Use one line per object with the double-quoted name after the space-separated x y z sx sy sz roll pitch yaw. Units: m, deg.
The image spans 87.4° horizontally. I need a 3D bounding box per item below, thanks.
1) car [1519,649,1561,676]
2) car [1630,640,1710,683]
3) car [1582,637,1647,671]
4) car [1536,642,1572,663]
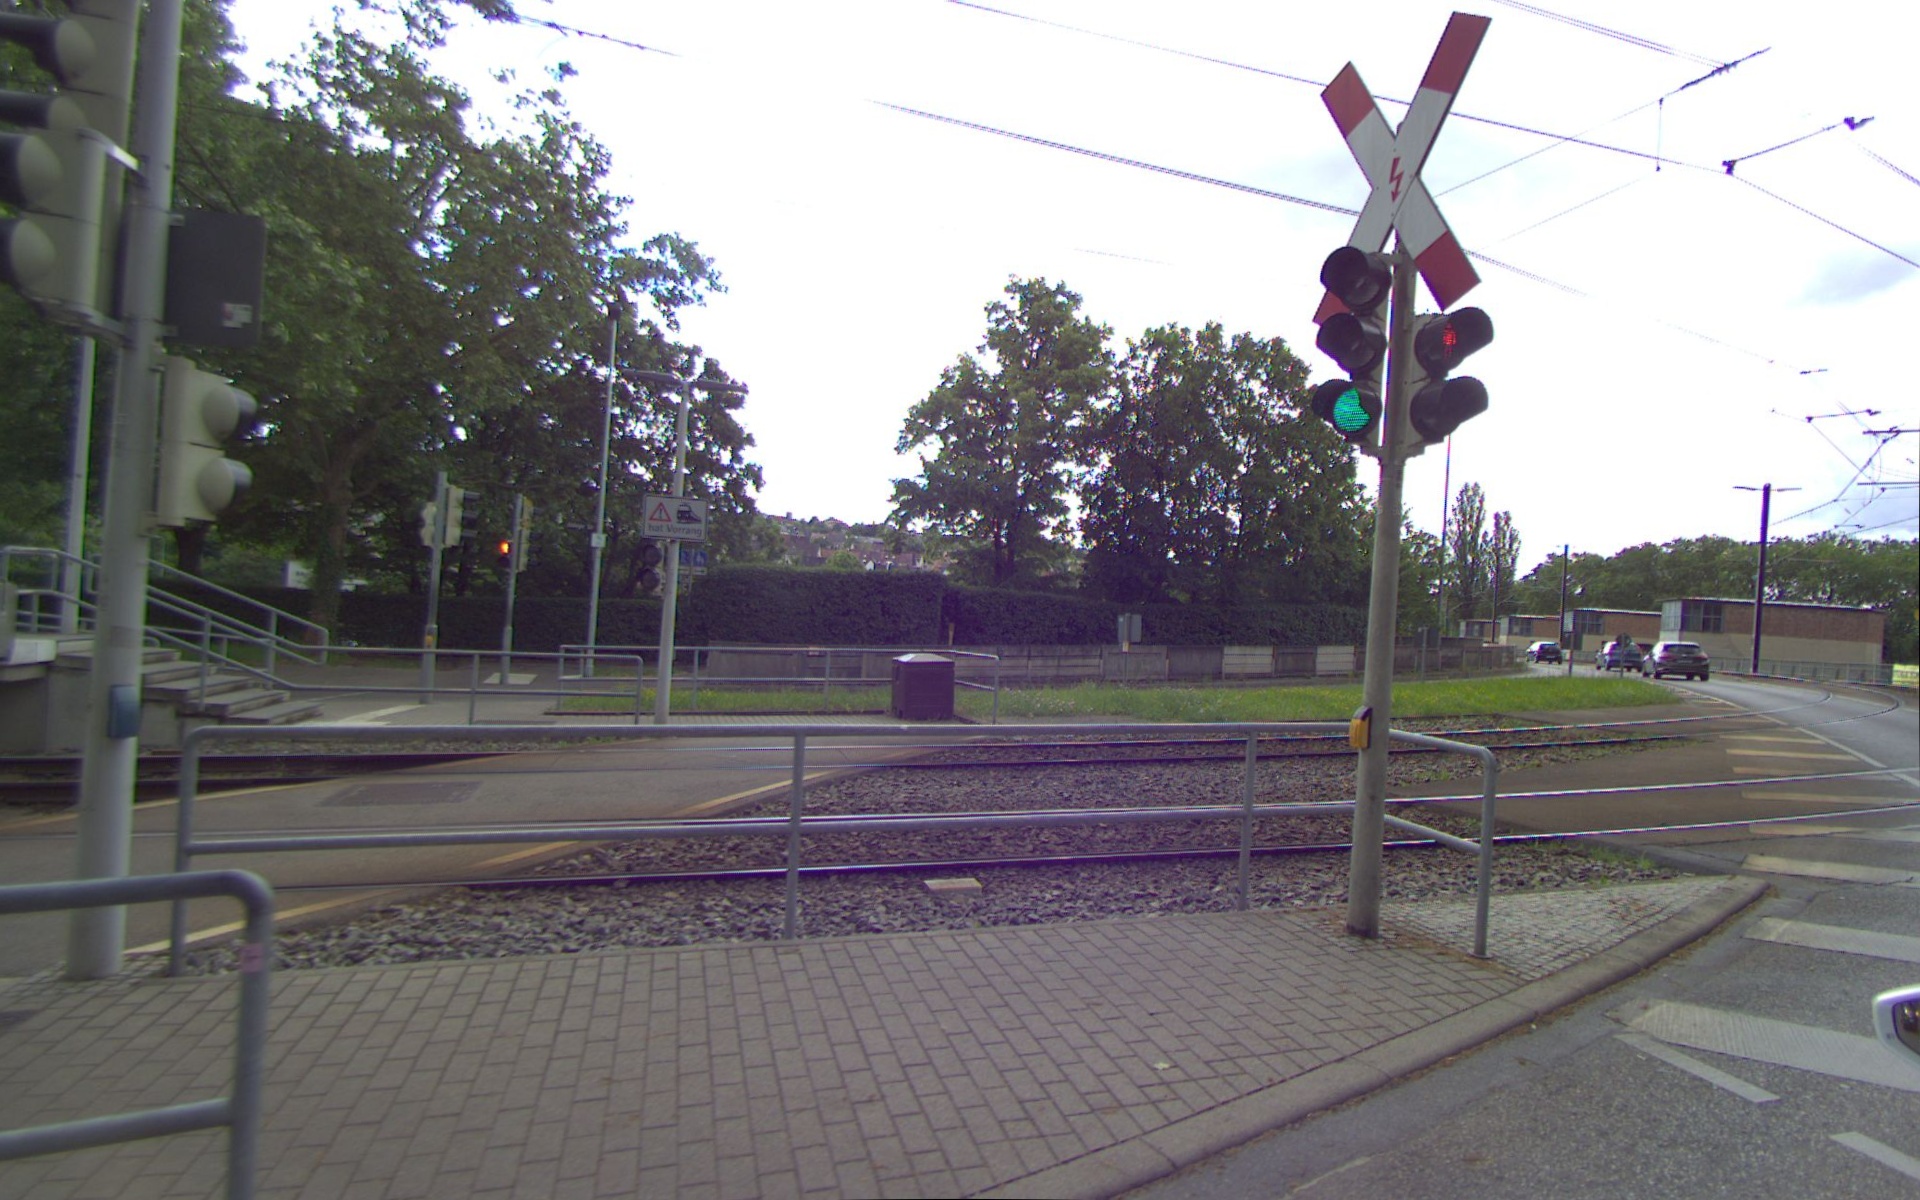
39.984 4.293 69.299 1.962 1.695 4.539 1 -1 23 "car"
28.997 2.464 41.146 1.742 1.576 4.240 1 -1 22 "car"
34.295 2.786 52.794 1.961 1.585 4.995 0 -1 22 "car"
50.671 4.480 85.814 1.962 1.591 4.903 4 -1 24 "car"
